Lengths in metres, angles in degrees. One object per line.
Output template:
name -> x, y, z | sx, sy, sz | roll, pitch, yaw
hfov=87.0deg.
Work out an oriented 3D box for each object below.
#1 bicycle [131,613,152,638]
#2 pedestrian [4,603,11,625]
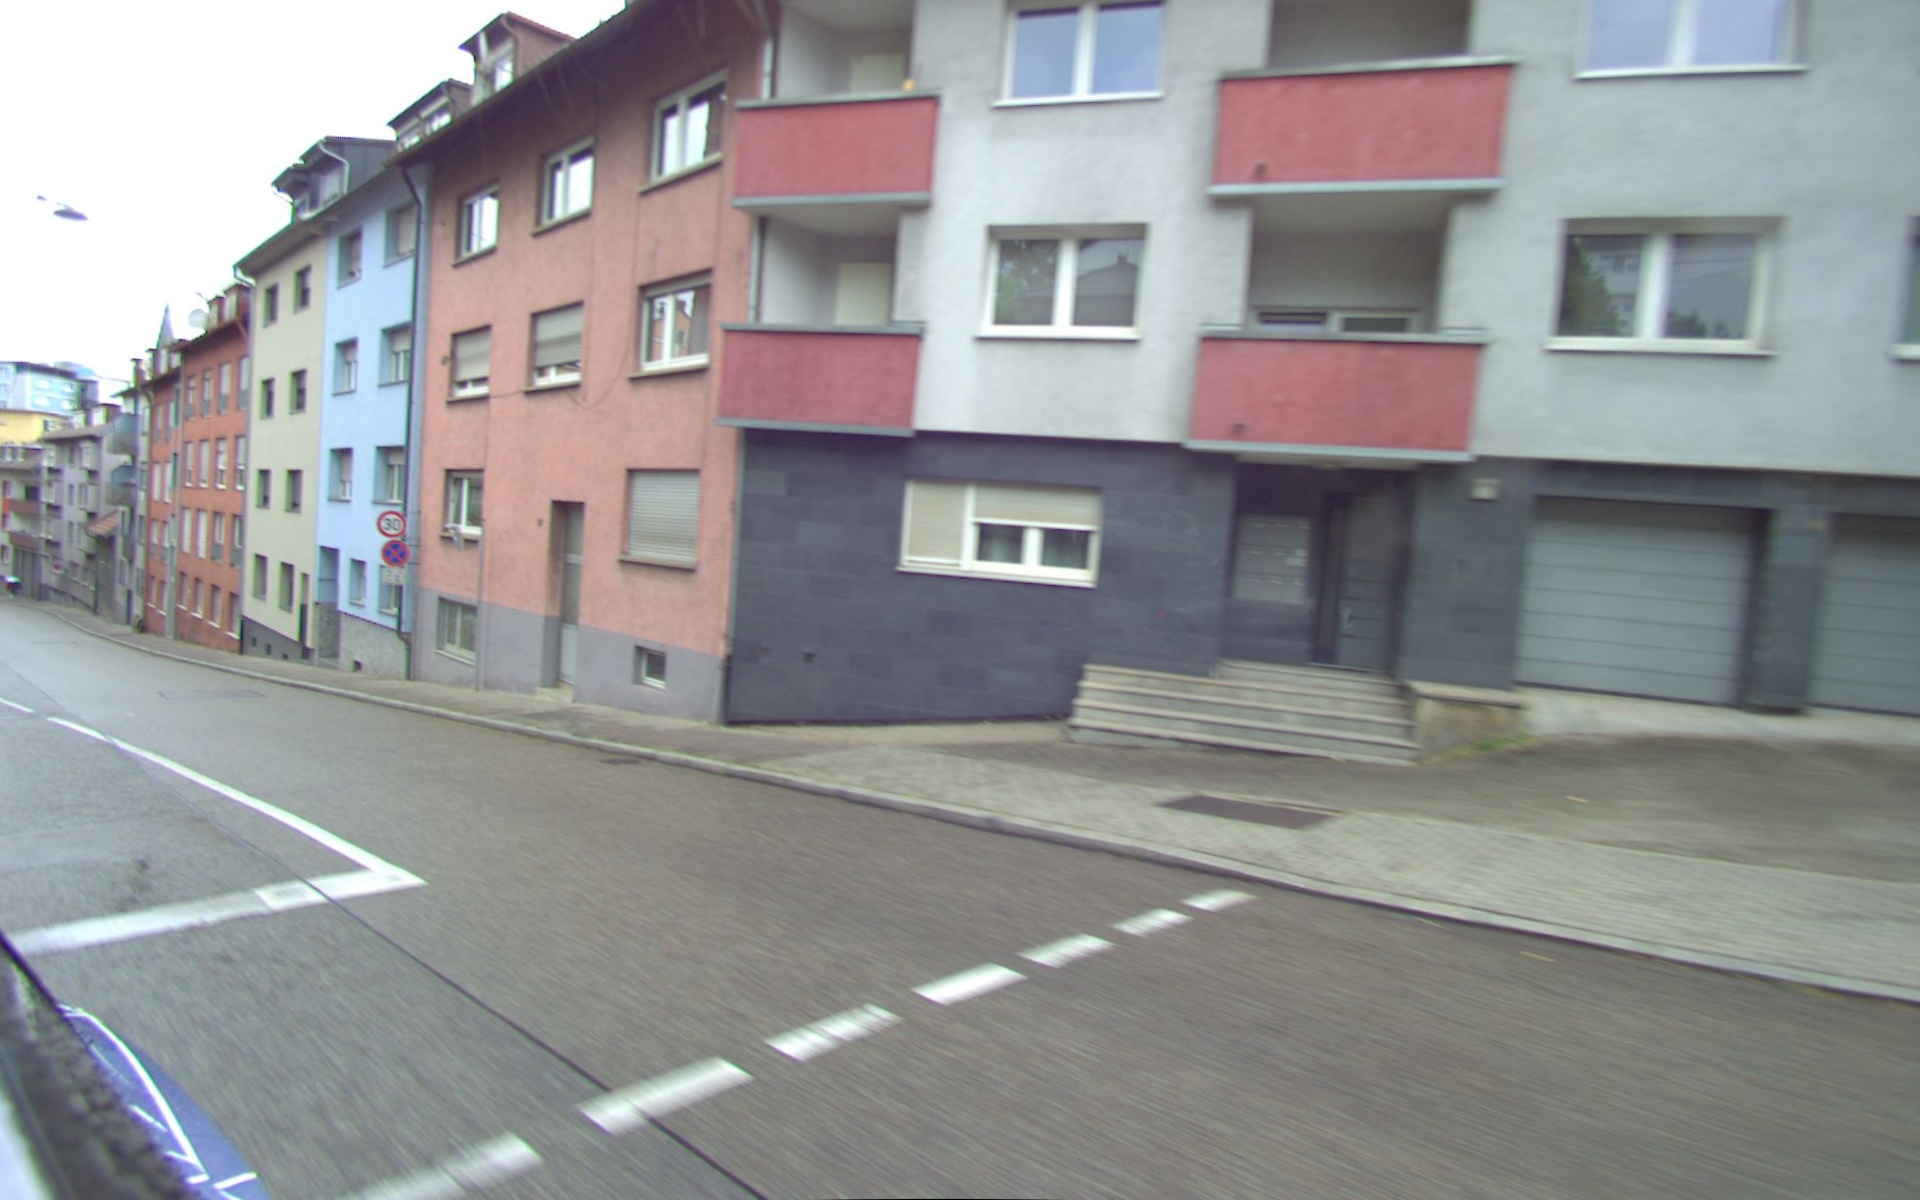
bicycle -> -40.382, 1.236, 49.912 | 2.041, 1.125, 0.564 | 1, 2, 45
pedestrian -> -77.252, 1.140, 82.068 | 0.499, 1.793, 0.351 | 2, 1, 35
